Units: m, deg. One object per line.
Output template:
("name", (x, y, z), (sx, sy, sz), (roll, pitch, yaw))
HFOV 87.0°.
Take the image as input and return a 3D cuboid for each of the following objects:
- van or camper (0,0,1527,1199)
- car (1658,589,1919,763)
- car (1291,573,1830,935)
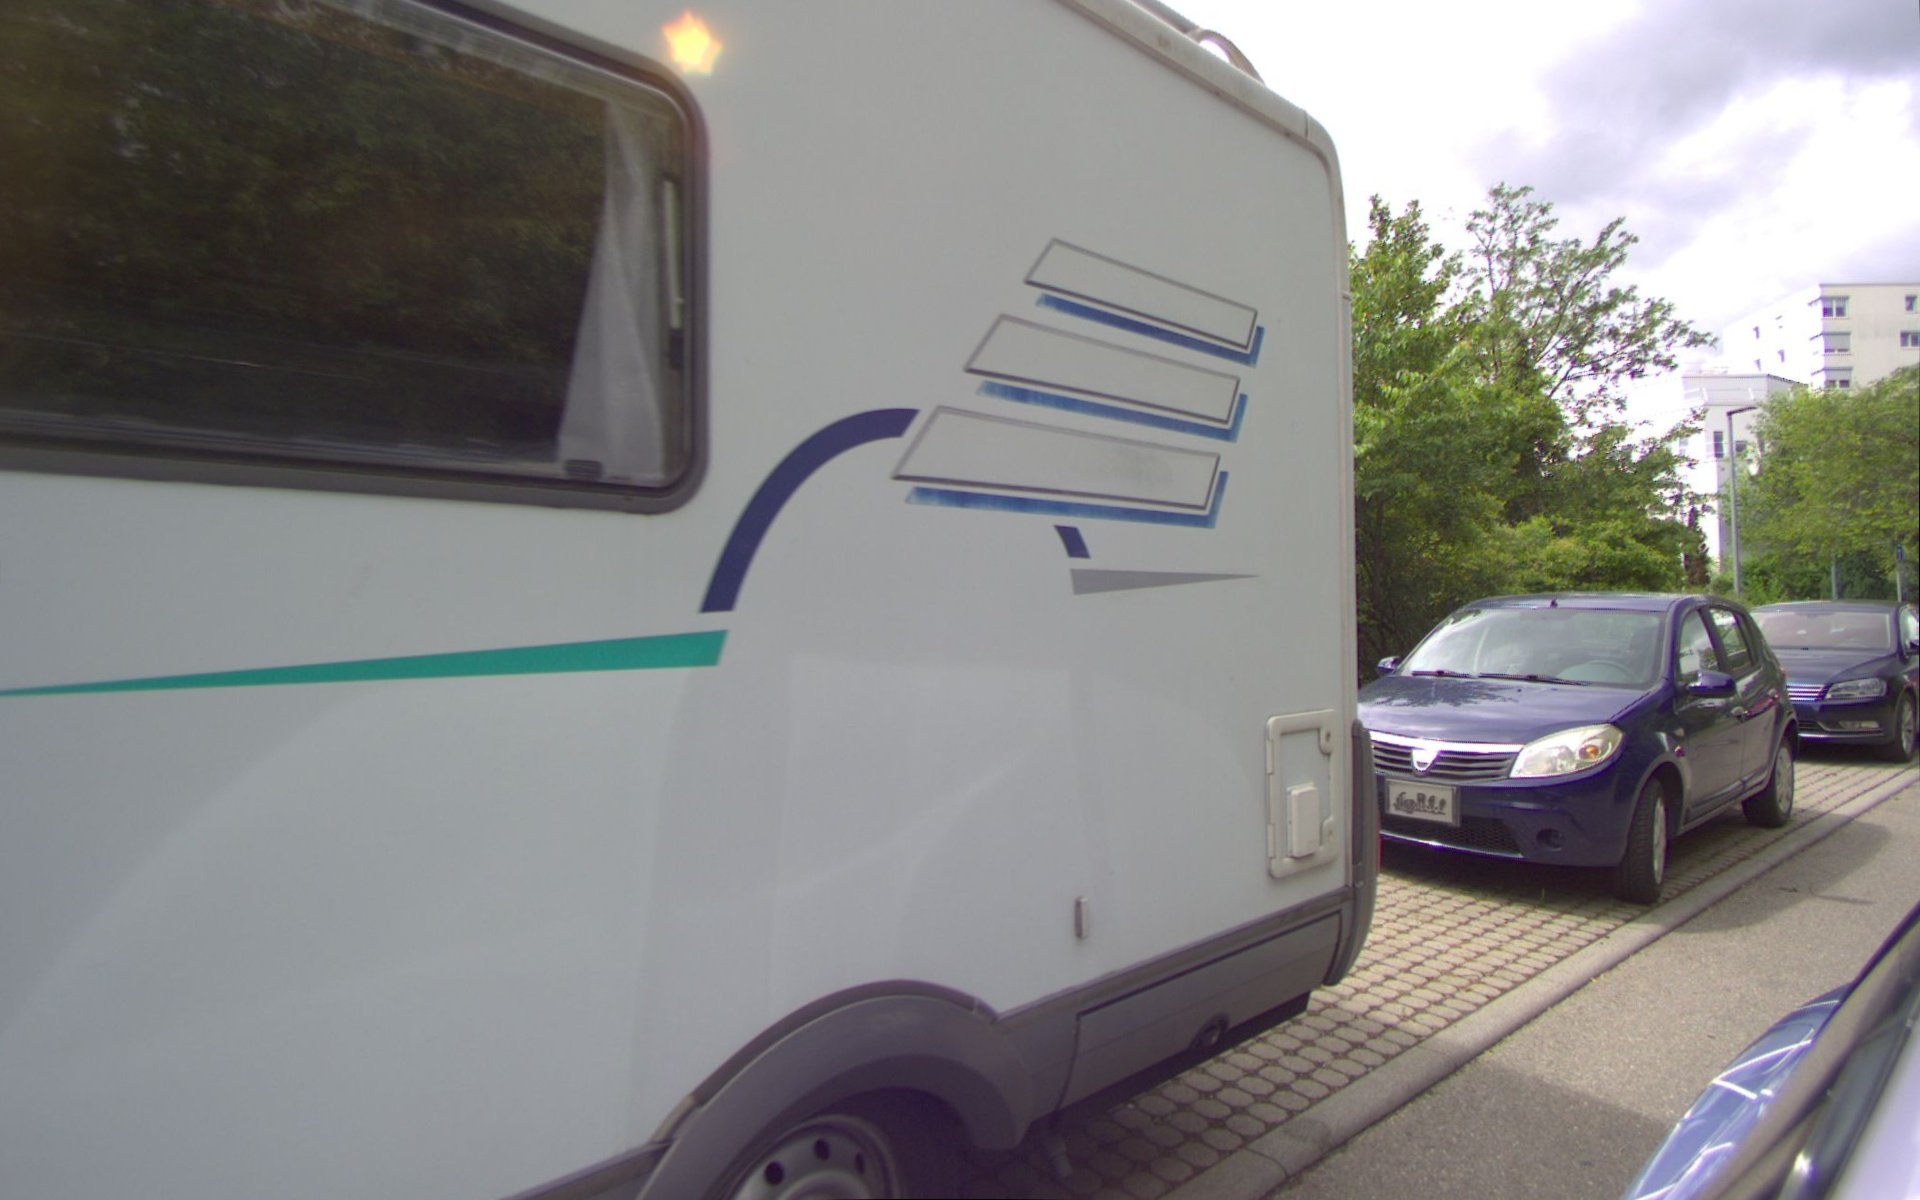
("van or camper", (-1.494, -0.051, 1.771), (6.042, 2.906, 2.336), (0, -2, -41))
("car", (9.078, 0.631, 10.449), (4.252, 1.452, 1.781), (0, 0, -36))
("car", (3.865, 0.626, 6.252), (3.821, 1.538, 1.732), (-1, 1, -41))
